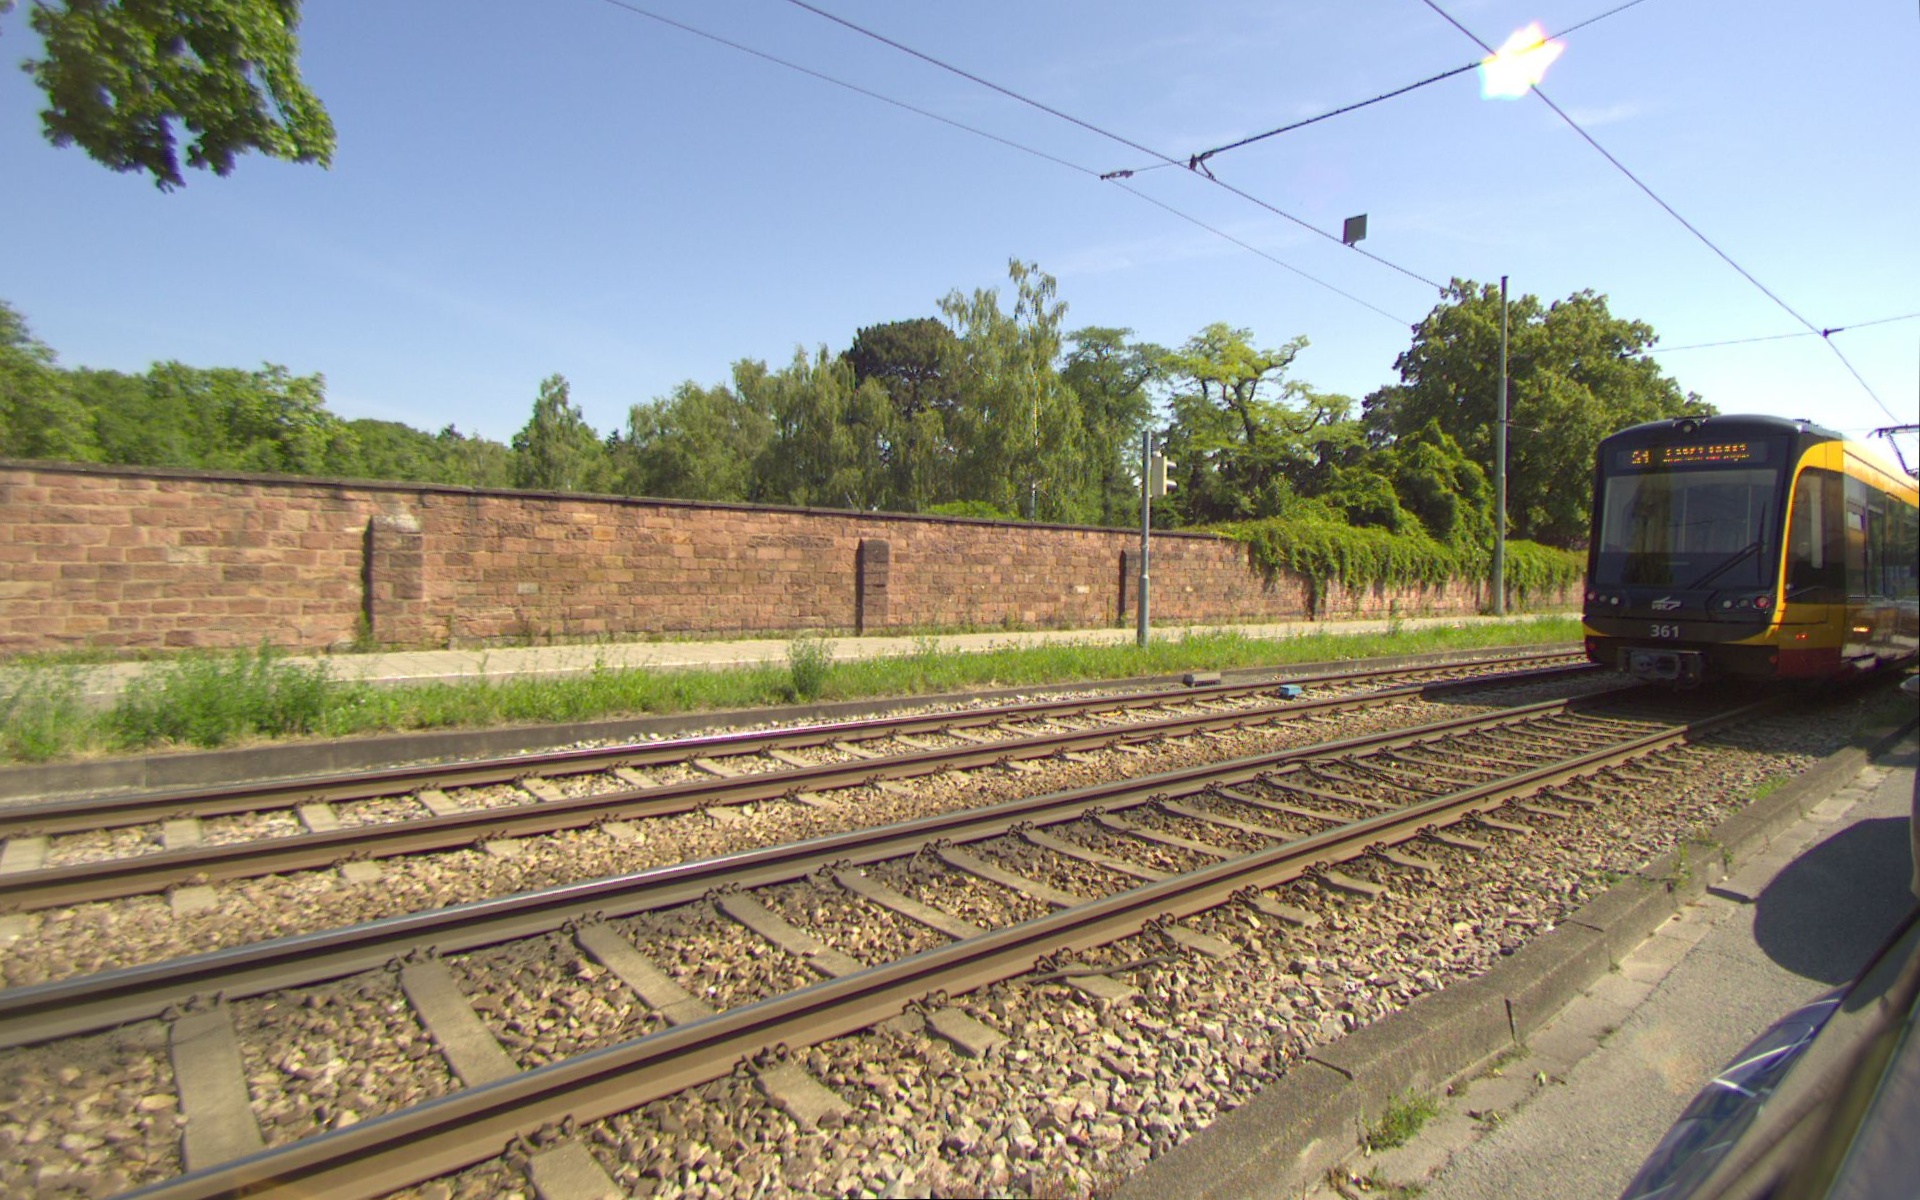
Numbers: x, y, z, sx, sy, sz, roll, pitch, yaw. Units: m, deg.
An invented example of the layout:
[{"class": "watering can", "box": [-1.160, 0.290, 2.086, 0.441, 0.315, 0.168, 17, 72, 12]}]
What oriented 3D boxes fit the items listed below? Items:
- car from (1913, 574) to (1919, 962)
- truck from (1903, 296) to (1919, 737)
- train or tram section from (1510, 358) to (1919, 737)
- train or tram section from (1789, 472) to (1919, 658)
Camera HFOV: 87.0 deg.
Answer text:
[{"class": "car", "box": [5.655, 0.632, 4.478, 3.960, 1.465, 1.718, 0, 1, -41]}, {"class": "truck", "box": [15.276, -0.798, 12.866, 14.037, 4.120, 3.388, 0, 1, -41]}, {"class": "train or tram section", "box": [13.018, -0.617, 15.812, 15.039, 3.698, 2.674, -1, 0, -41]}, {"class": "train or tram section", "box": [25.656, -0.828, 26.875, 18.630, 3.698, 2.677, -1, 1, -41]}]
